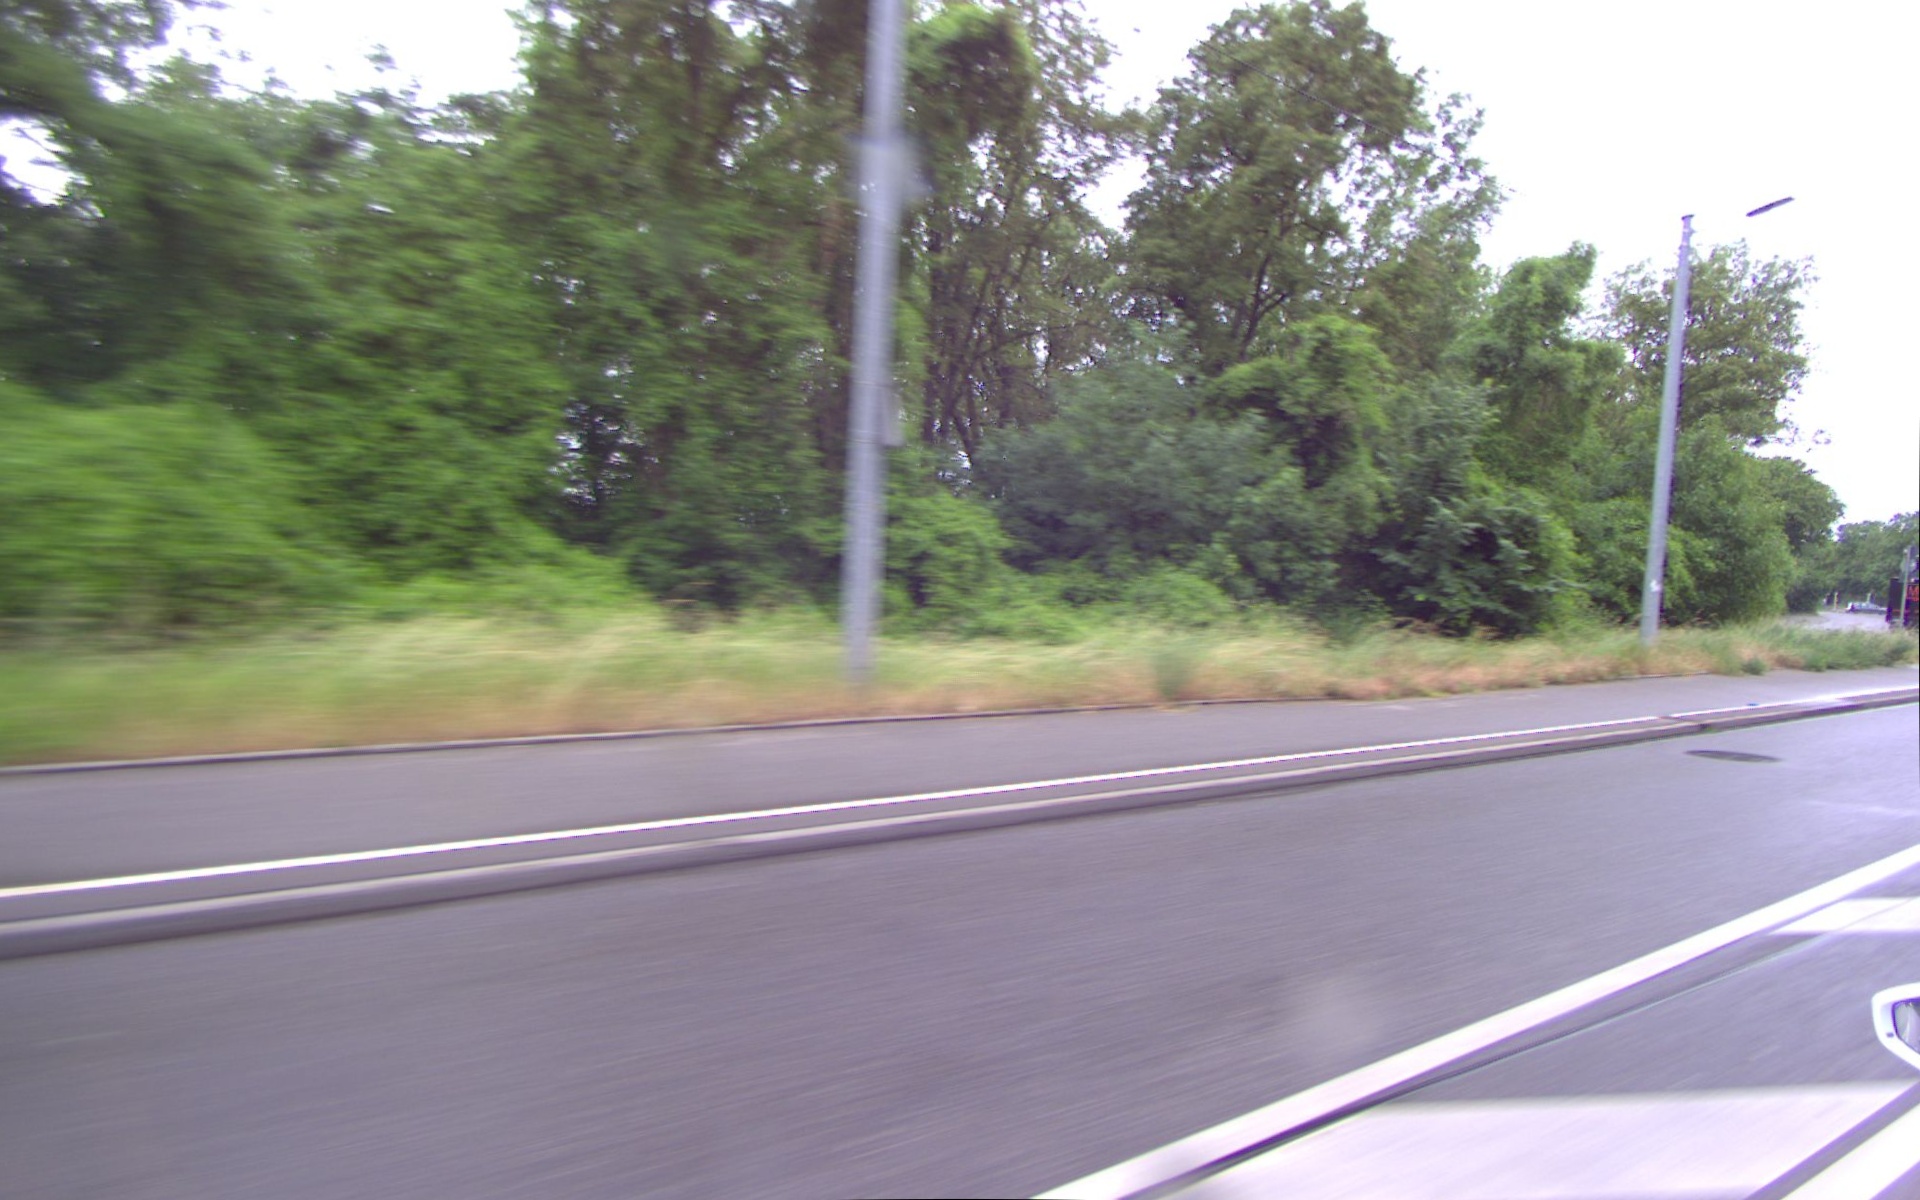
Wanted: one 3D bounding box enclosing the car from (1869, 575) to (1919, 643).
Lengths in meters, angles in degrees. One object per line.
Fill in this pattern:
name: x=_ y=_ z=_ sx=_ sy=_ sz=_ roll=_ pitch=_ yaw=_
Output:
car: x=52.131 y=0.521 z=53.090 sx=5.886 sy=3.549 sz=1.987 roll=2 pitch=1 yaw=45
